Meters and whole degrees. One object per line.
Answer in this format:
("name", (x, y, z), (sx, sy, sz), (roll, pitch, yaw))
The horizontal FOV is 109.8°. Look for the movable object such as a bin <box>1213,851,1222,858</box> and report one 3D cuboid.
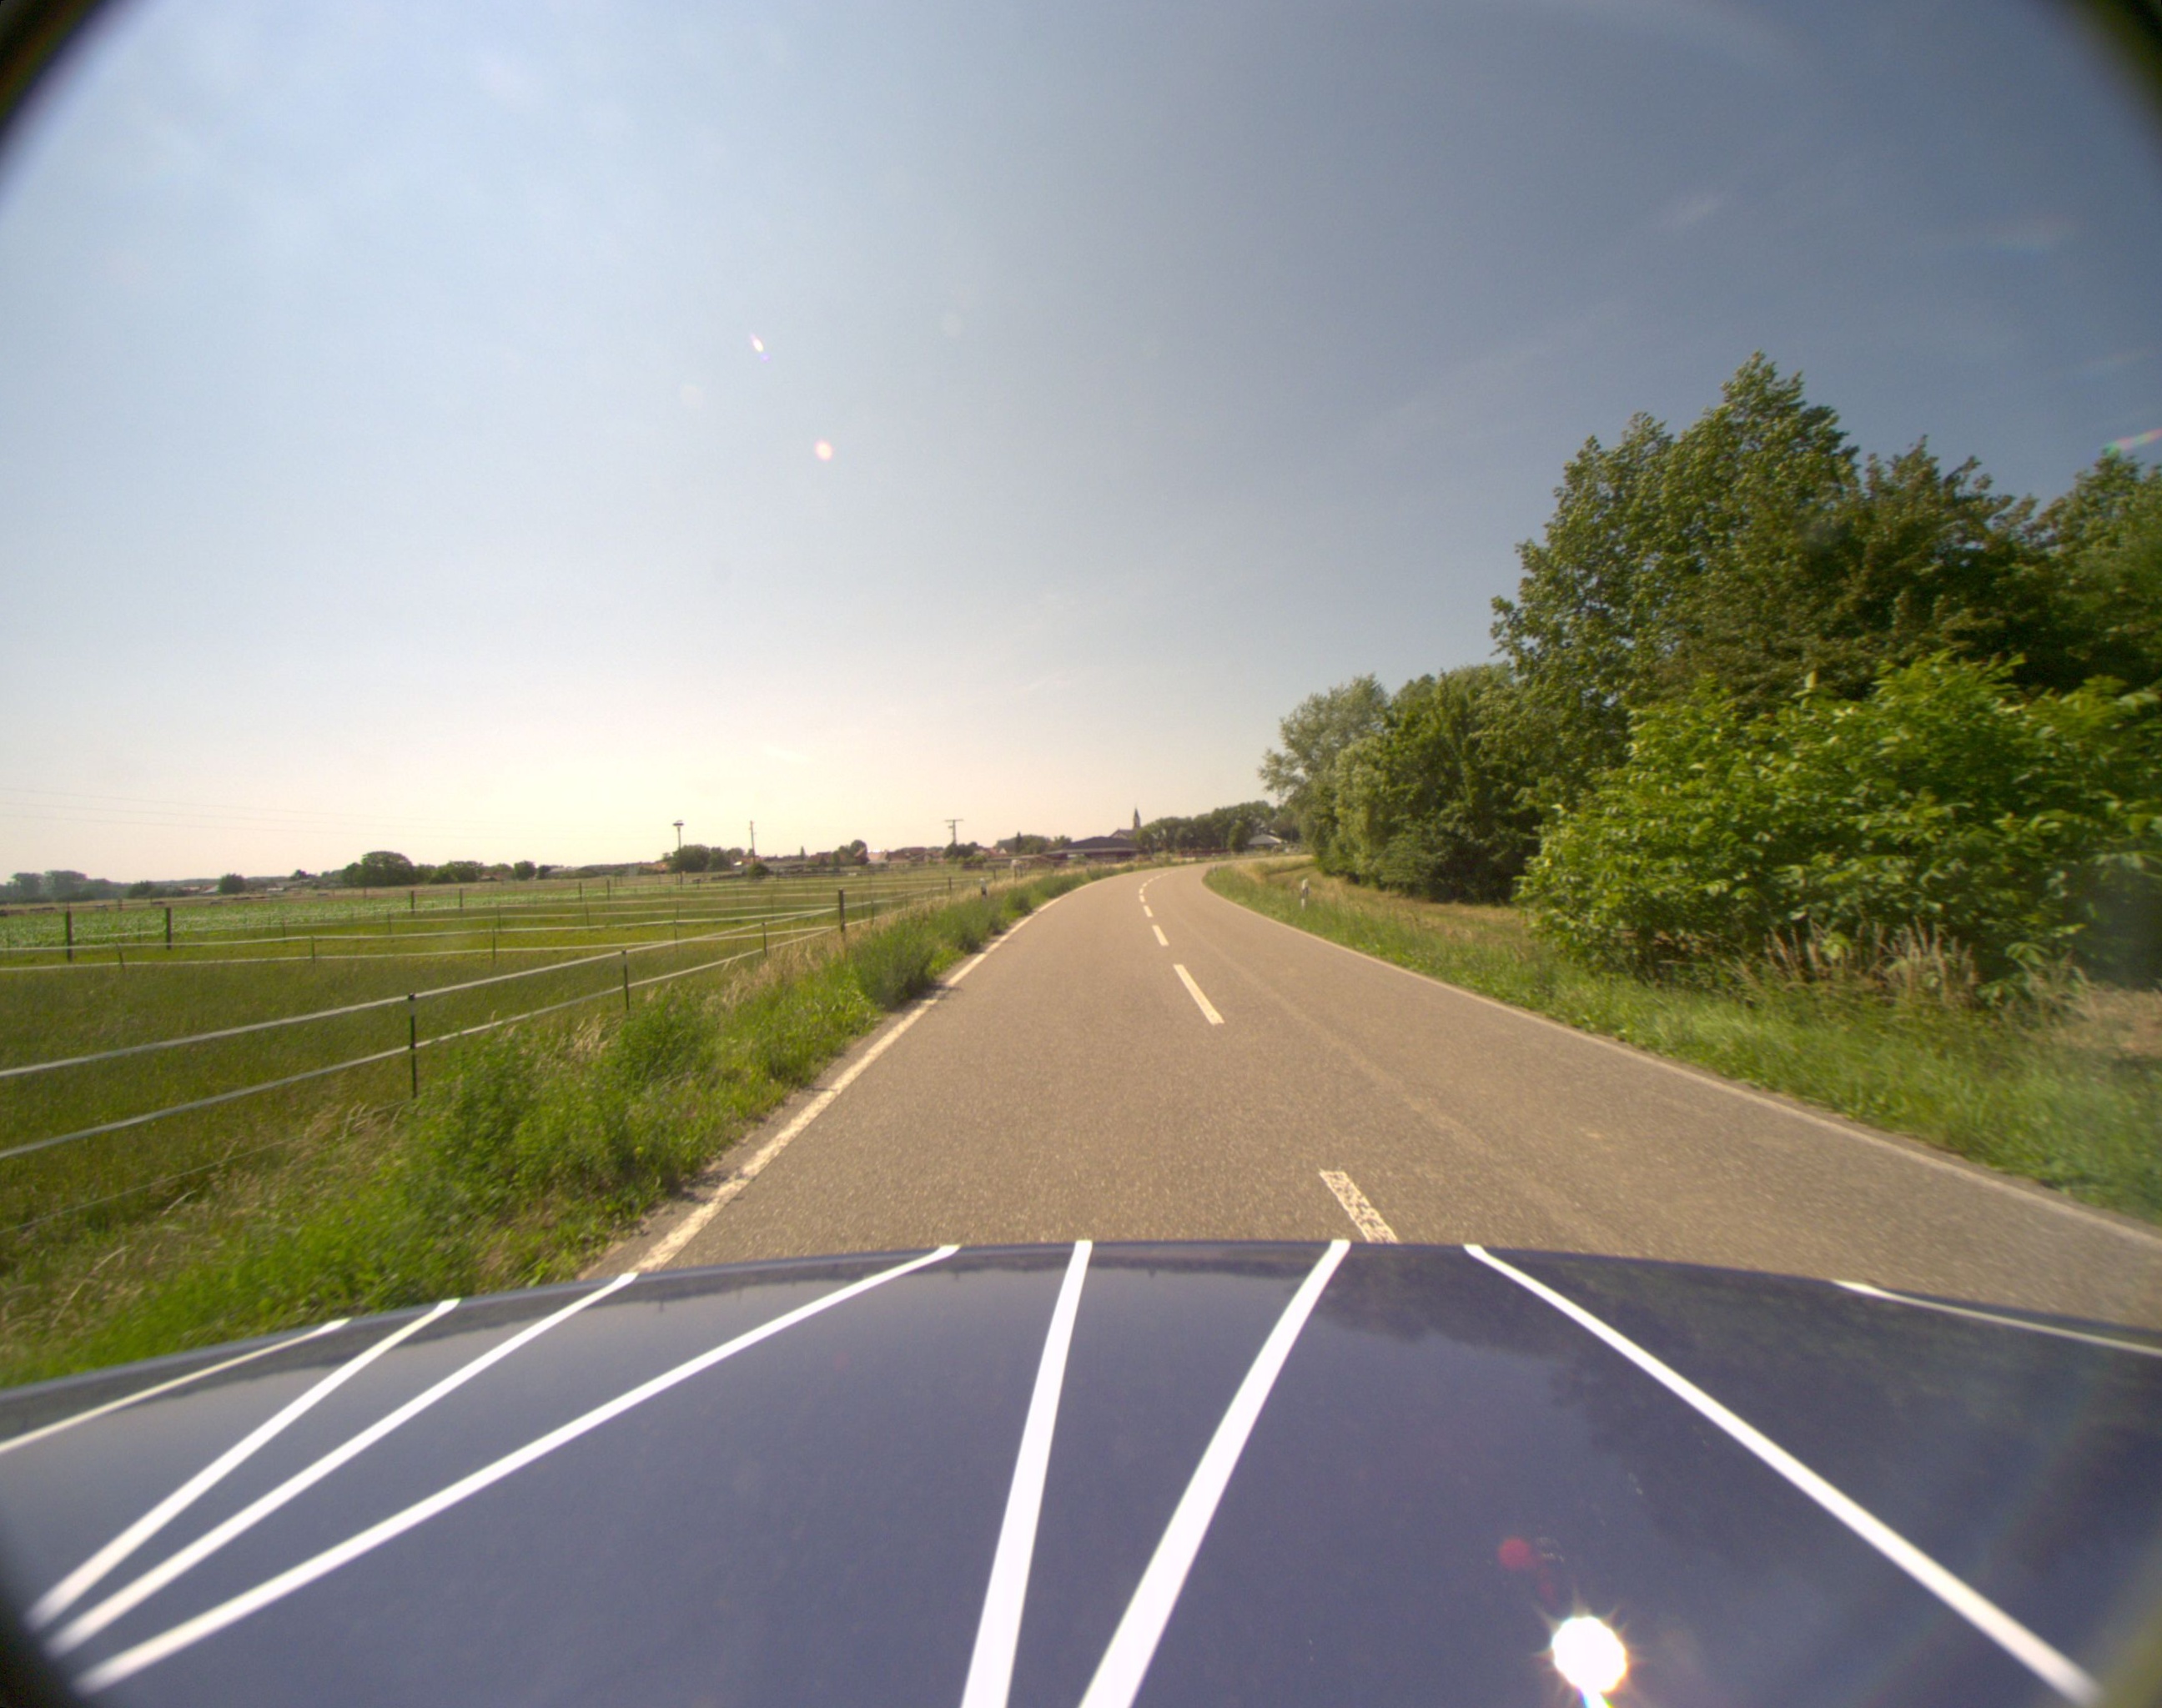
("movable object such as a bin", (30.082, 0.115, 167.918), (1.517, 1.341, 1.372), (-3, 0, -11))
